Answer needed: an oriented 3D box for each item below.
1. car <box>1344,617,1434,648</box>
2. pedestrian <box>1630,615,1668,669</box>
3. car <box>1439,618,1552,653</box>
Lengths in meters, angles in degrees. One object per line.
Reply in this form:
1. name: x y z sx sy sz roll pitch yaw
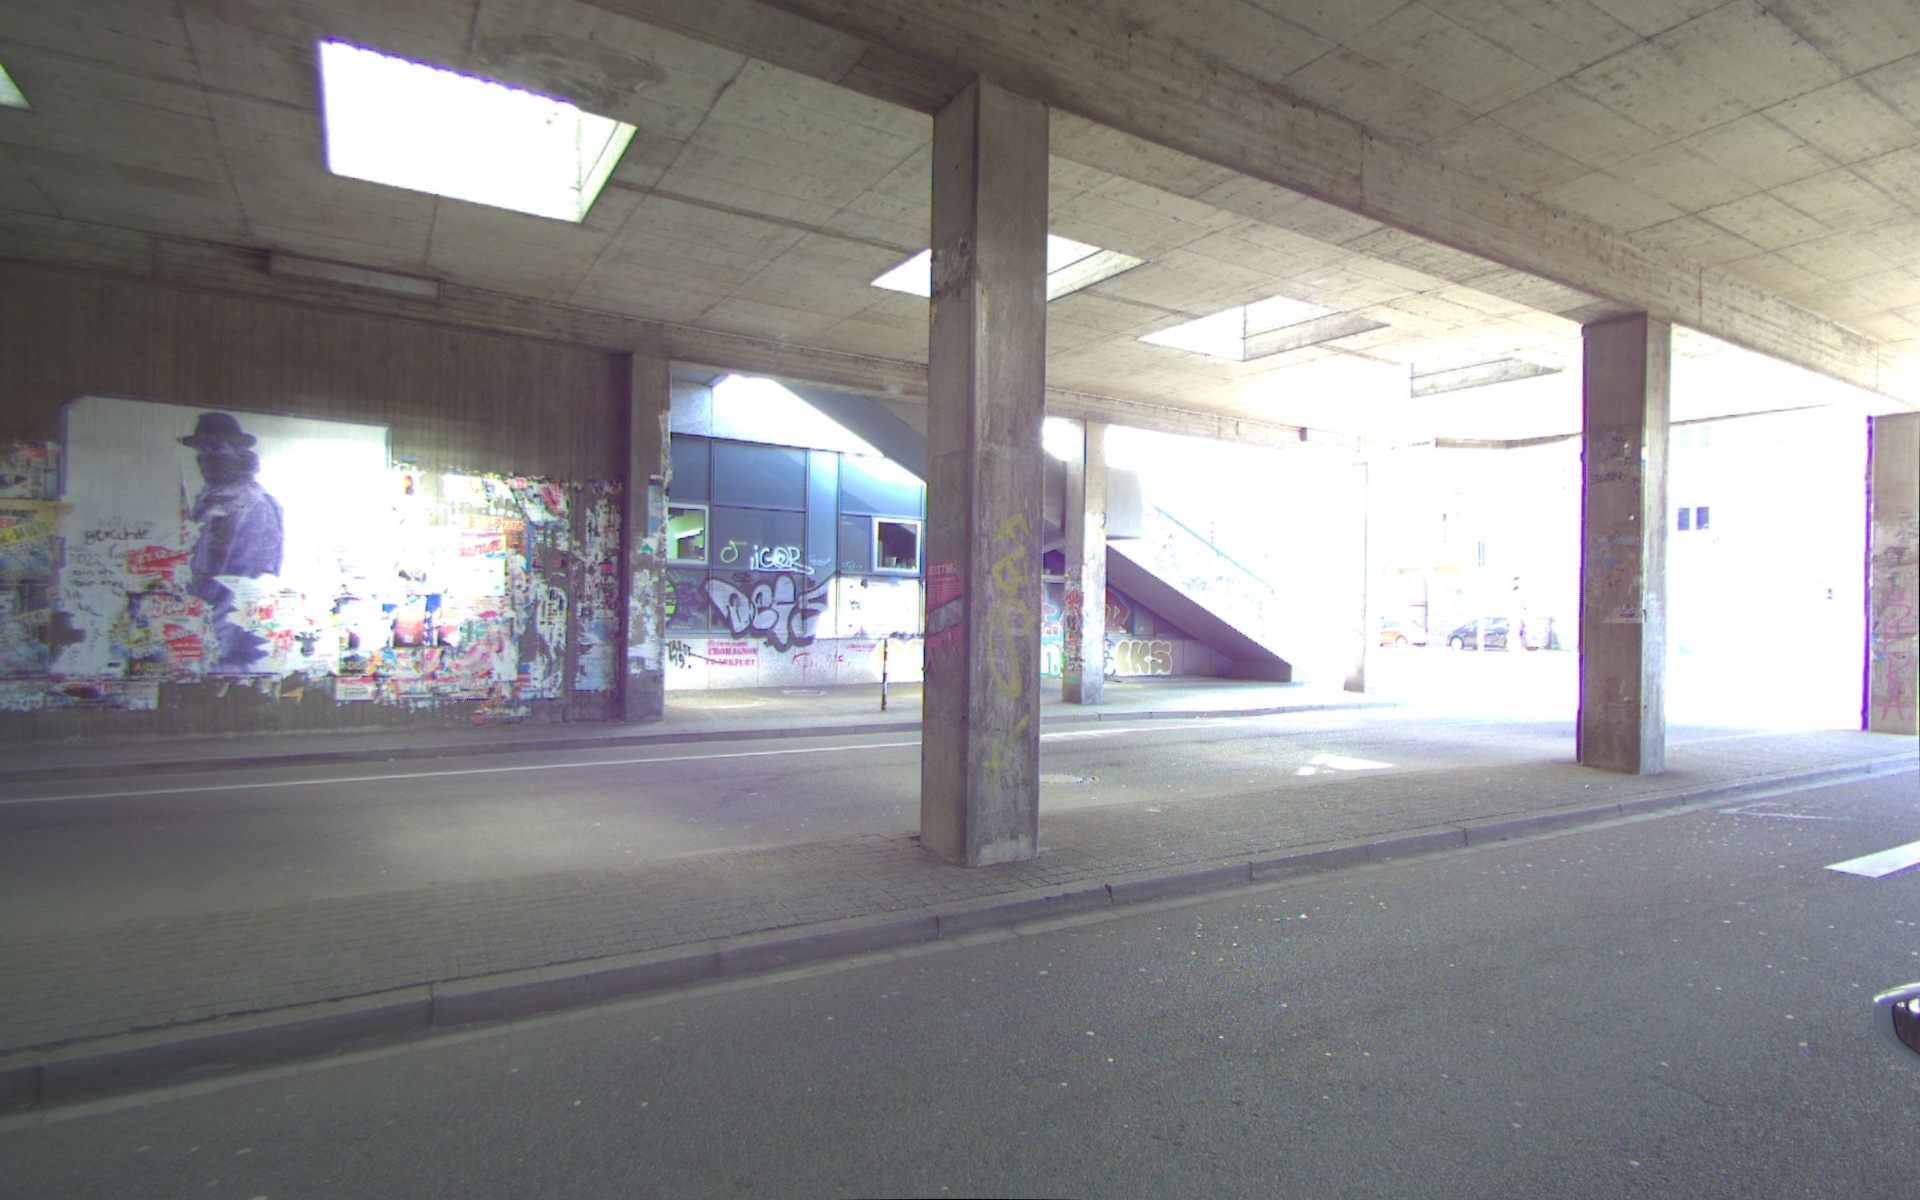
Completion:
1. car: 22.456 1.682 52.673 1.905 1.428 3.965 2 0 -32
2. pedestrian: 21.336 1.296 31.110 0.732 1.659 0.669 2 0 -30
3. car: 25.355 1.668 47.727 1.905 1.428 4.382 2 0 -32
